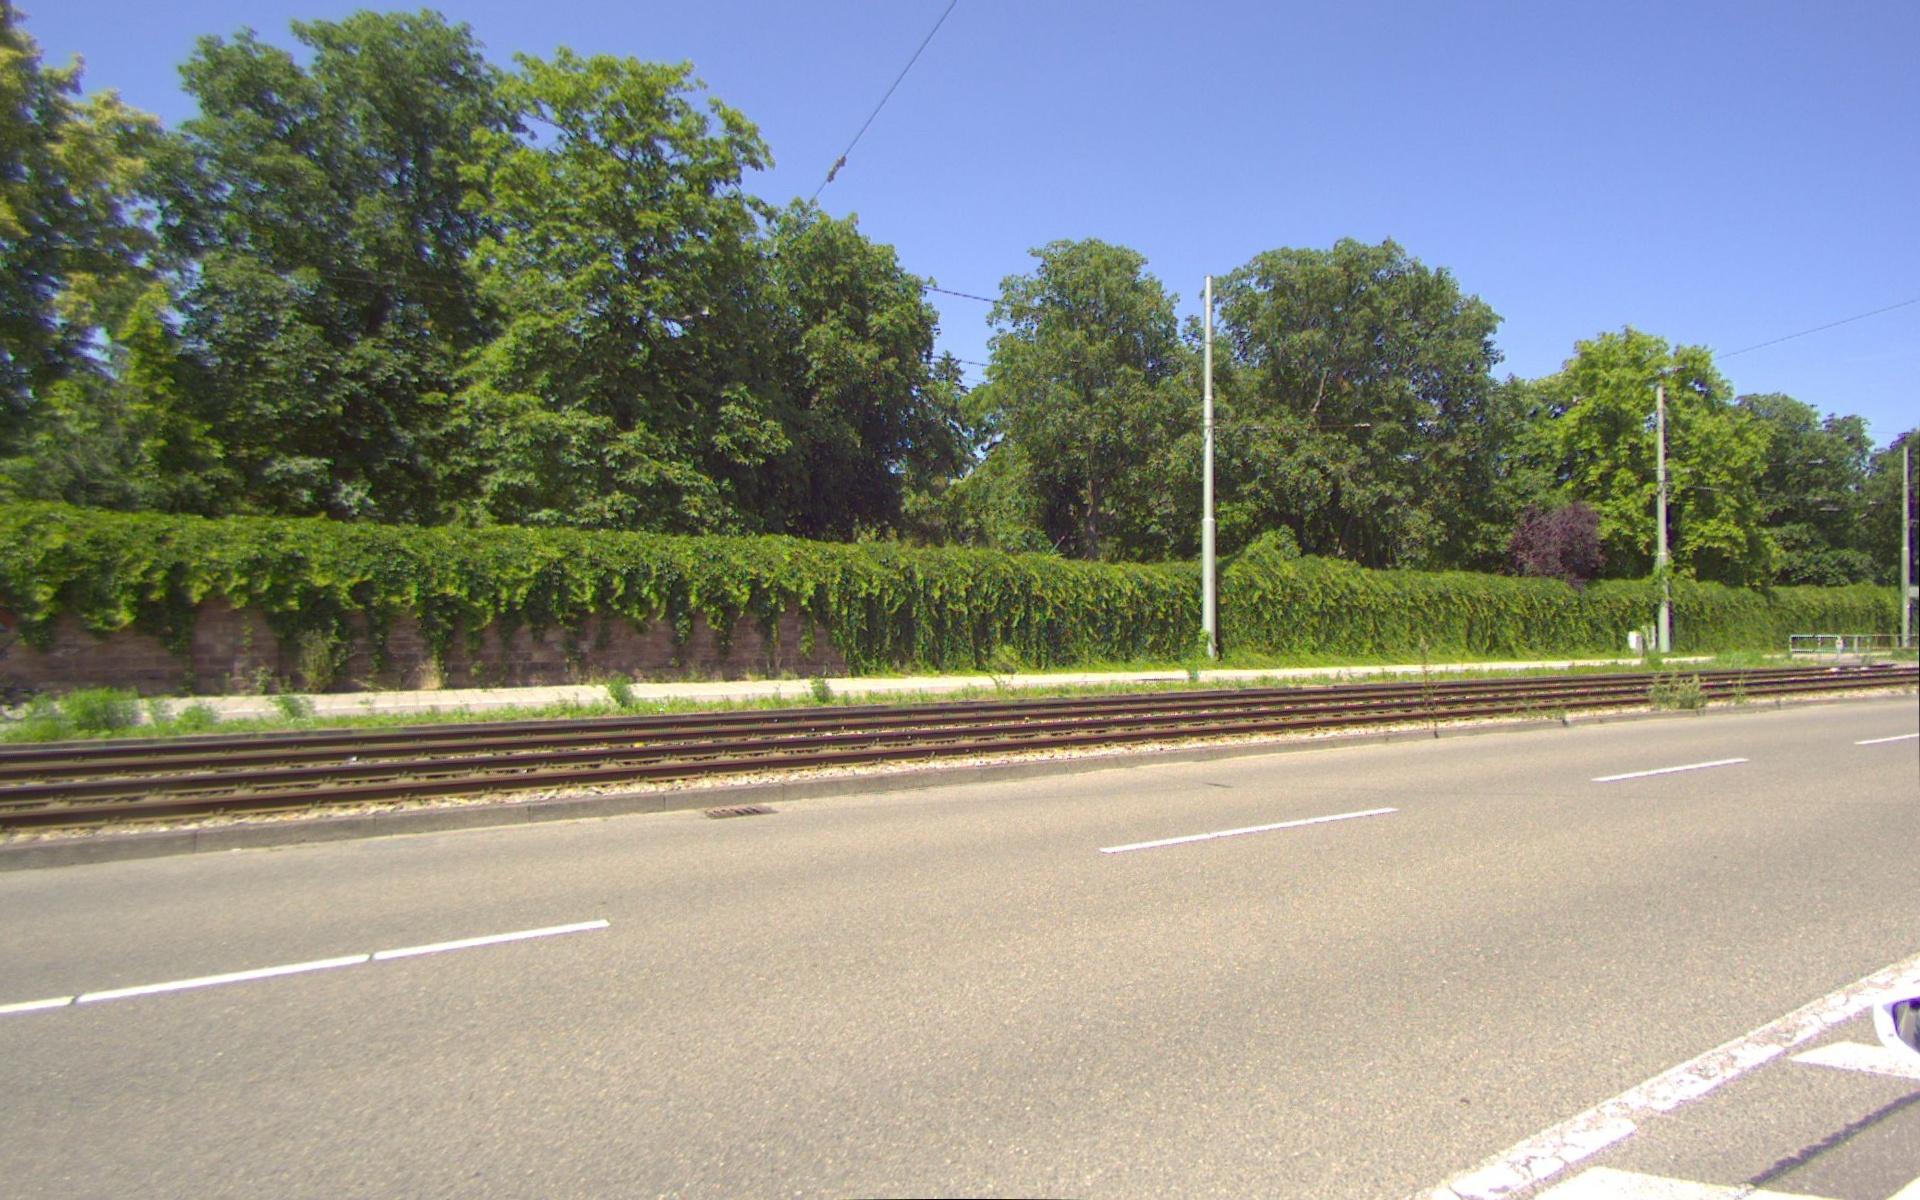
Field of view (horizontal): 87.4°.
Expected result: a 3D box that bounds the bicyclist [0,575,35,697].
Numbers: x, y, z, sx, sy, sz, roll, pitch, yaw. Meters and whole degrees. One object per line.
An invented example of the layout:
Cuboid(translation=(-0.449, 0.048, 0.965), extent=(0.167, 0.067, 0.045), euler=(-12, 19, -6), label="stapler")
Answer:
Cuboid(translation=(-12.497, 0.440, 12.647), extent=(0.987, 1.506, 0.991), euler=(1, -1, -27), label="bicyclist")

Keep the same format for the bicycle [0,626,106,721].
Cuboid(translation=(-12.562, 0.911, 12.621), extent=(2.651, 1.171, 0.825), euler=(1, -1, -27), label="bicycle")
